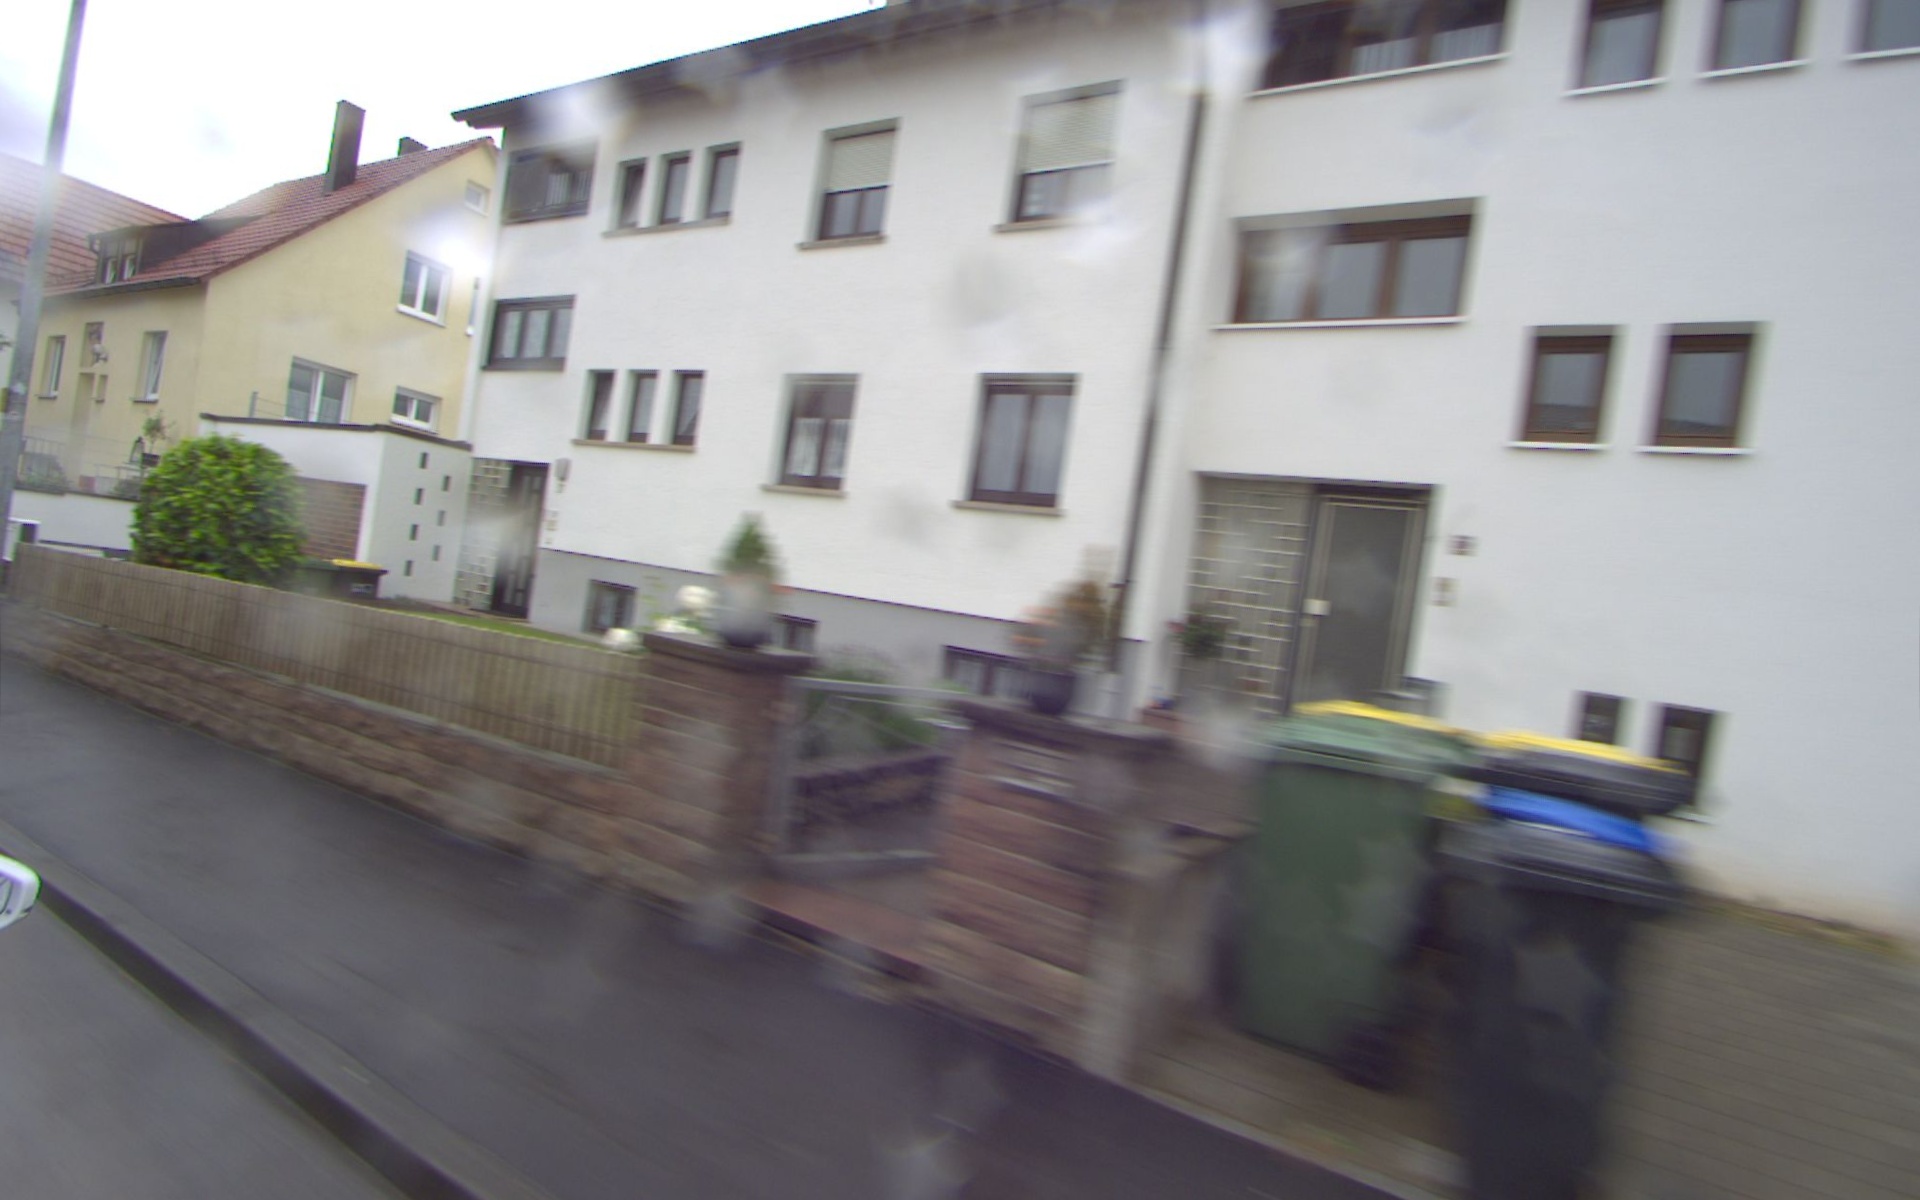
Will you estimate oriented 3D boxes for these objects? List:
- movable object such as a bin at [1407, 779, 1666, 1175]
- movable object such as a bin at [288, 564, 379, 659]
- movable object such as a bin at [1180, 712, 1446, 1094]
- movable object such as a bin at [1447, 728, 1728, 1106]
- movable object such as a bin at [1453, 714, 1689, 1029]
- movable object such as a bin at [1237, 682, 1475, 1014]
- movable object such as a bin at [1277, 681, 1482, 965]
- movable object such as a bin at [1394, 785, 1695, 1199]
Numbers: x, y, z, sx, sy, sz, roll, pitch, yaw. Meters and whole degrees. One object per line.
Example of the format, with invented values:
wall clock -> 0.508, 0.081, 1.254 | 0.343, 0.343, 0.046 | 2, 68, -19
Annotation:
movable object such as a bin -> 1.720, 1.074, 3.033 | 0.499, 0.951, 0.426 | 10, 0, 30
movable object such as a bin -> -8.098, 0.153, 13.011 | 0.618, 1.085, 0.651 | 10, -1, 32
movable object such as a bin -> 1.188, 0.956, 3.376 | 0.621, 1.040, 0.426 | 10, 0, 30
movable object such as a bin -> 2.126, 1.020, 3.469 | 0.621, 1.039, 0.546 | 10, 0, 30
movable object such as a bin -> 2.440, 1.042, 4.067 | 0.621, 1.039, 0.529 | 10, 0, 30
movable object such as a bin -> 1.525, 0.896, 3.851 | 0.621, 1.039, 0.546 | 10, 0, 30
movable object such as a bin -> 1.862, 0.942, 4.442 | 0.621, 1.039, 0.546 | 10, 0, 30
movable object such as a bin -> 1.510, 1.023, 2.638 | 0.499, 0.951, 0.426 | 10, 0, 30
